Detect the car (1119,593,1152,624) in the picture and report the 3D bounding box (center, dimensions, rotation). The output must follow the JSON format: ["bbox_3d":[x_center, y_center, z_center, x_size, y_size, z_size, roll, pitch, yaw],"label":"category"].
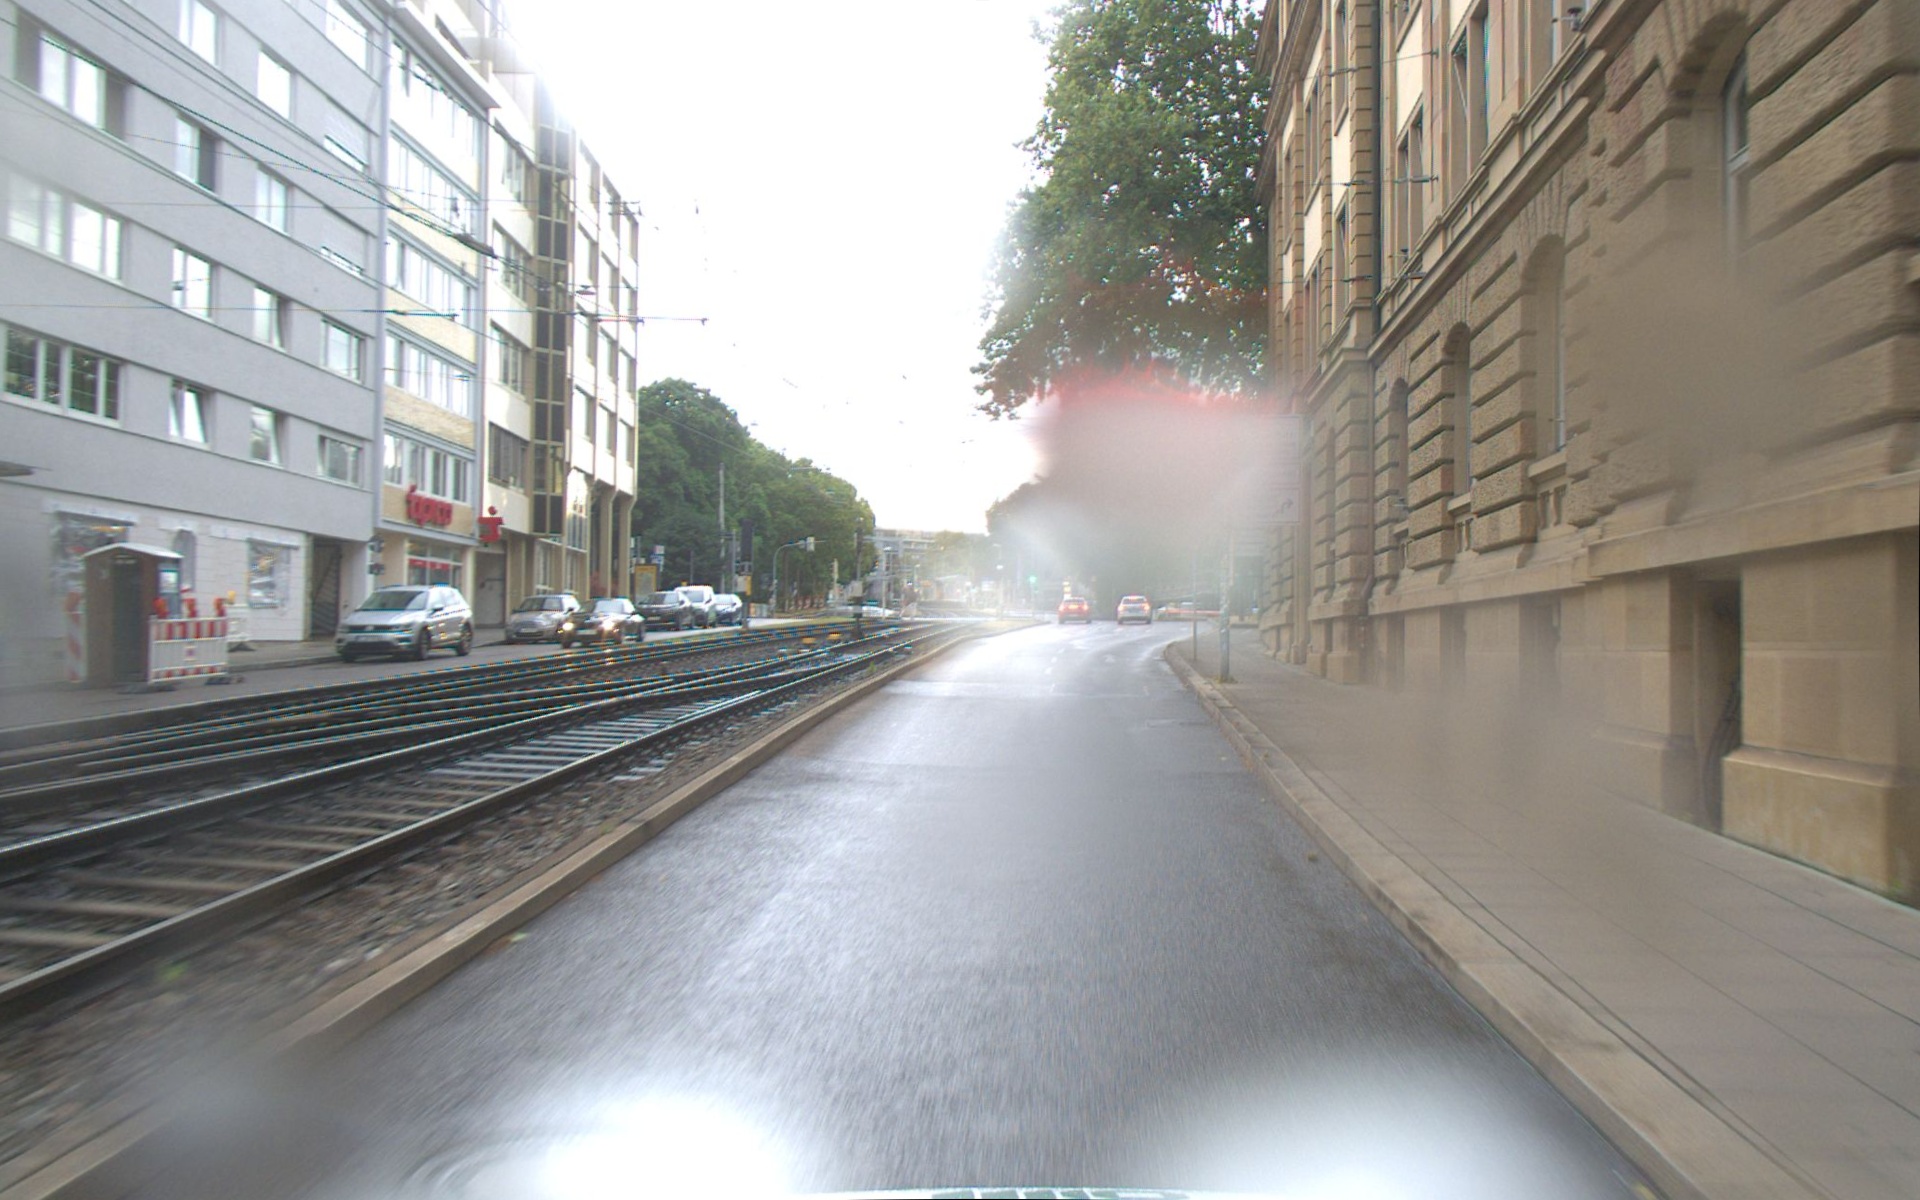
[{"bbox_3d":[9.324,0.428,87.641,1.643,1.604,4.256,0,0,7],"label":"car"}]

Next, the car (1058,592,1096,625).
[{"bbox_3d":[6.487,0.468,91.453,1.939,1.669,4.419,2,-1,5],"label":"car"}]

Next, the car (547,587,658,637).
[{"bbox_3d":[-9.511,0.343,44.335,1.953,1.277,4.694,0,-1,0],"label":"car"}]

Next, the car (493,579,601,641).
[{"bbox_3d":[-12.281,0.321,49.493,1.953,1.703,4.694,2,-1,0],"label":"car"}]

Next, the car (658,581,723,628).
[{"bbox_3d":[-11.620,0.220,71.535,1.953,1.882,4.694,2,-1,0],"label":"car"}]

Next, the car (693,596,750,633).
[{"bbox_3d":[-11.166,0.720,77.848,1.953,1.610,4.549,2,-1,0],"label":"car"}]

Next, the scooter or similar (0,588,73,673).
[{"bbox_3d":[-16.041,0.495,27.597,0.682,1.398,3.089,2,-1,2],"label":"scooter or similar"}]

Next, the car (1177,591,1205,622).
[{"bbox_3d":[24.716,0.710,177.107,2.492,3.189,5.032,2,-1,3],"label":"car"}]

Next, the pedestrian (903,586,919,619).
[{"bbox_3d":[-2.734,0.164,92.400,0.628,1.819,0.807,3,-1,-16],"label":"pedestrian"}]

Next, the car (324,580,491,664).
[{"bbox_3d":[-12.385,0.436,37.422,1.952,1.703,4.697,3,1,2],"label":"car"}]

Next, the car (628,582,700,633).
[{"bbox_3d":[-11.798,0.341,66.136,1.953,1.882,4.694,2,-1,0],"label":"car"}]

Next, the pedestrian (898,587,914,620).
[{"bbox_3d":[-3.037,0.178,93.262,0.629,1.819,0.806,3,-1,-21],"label":"pedestrian"}]
